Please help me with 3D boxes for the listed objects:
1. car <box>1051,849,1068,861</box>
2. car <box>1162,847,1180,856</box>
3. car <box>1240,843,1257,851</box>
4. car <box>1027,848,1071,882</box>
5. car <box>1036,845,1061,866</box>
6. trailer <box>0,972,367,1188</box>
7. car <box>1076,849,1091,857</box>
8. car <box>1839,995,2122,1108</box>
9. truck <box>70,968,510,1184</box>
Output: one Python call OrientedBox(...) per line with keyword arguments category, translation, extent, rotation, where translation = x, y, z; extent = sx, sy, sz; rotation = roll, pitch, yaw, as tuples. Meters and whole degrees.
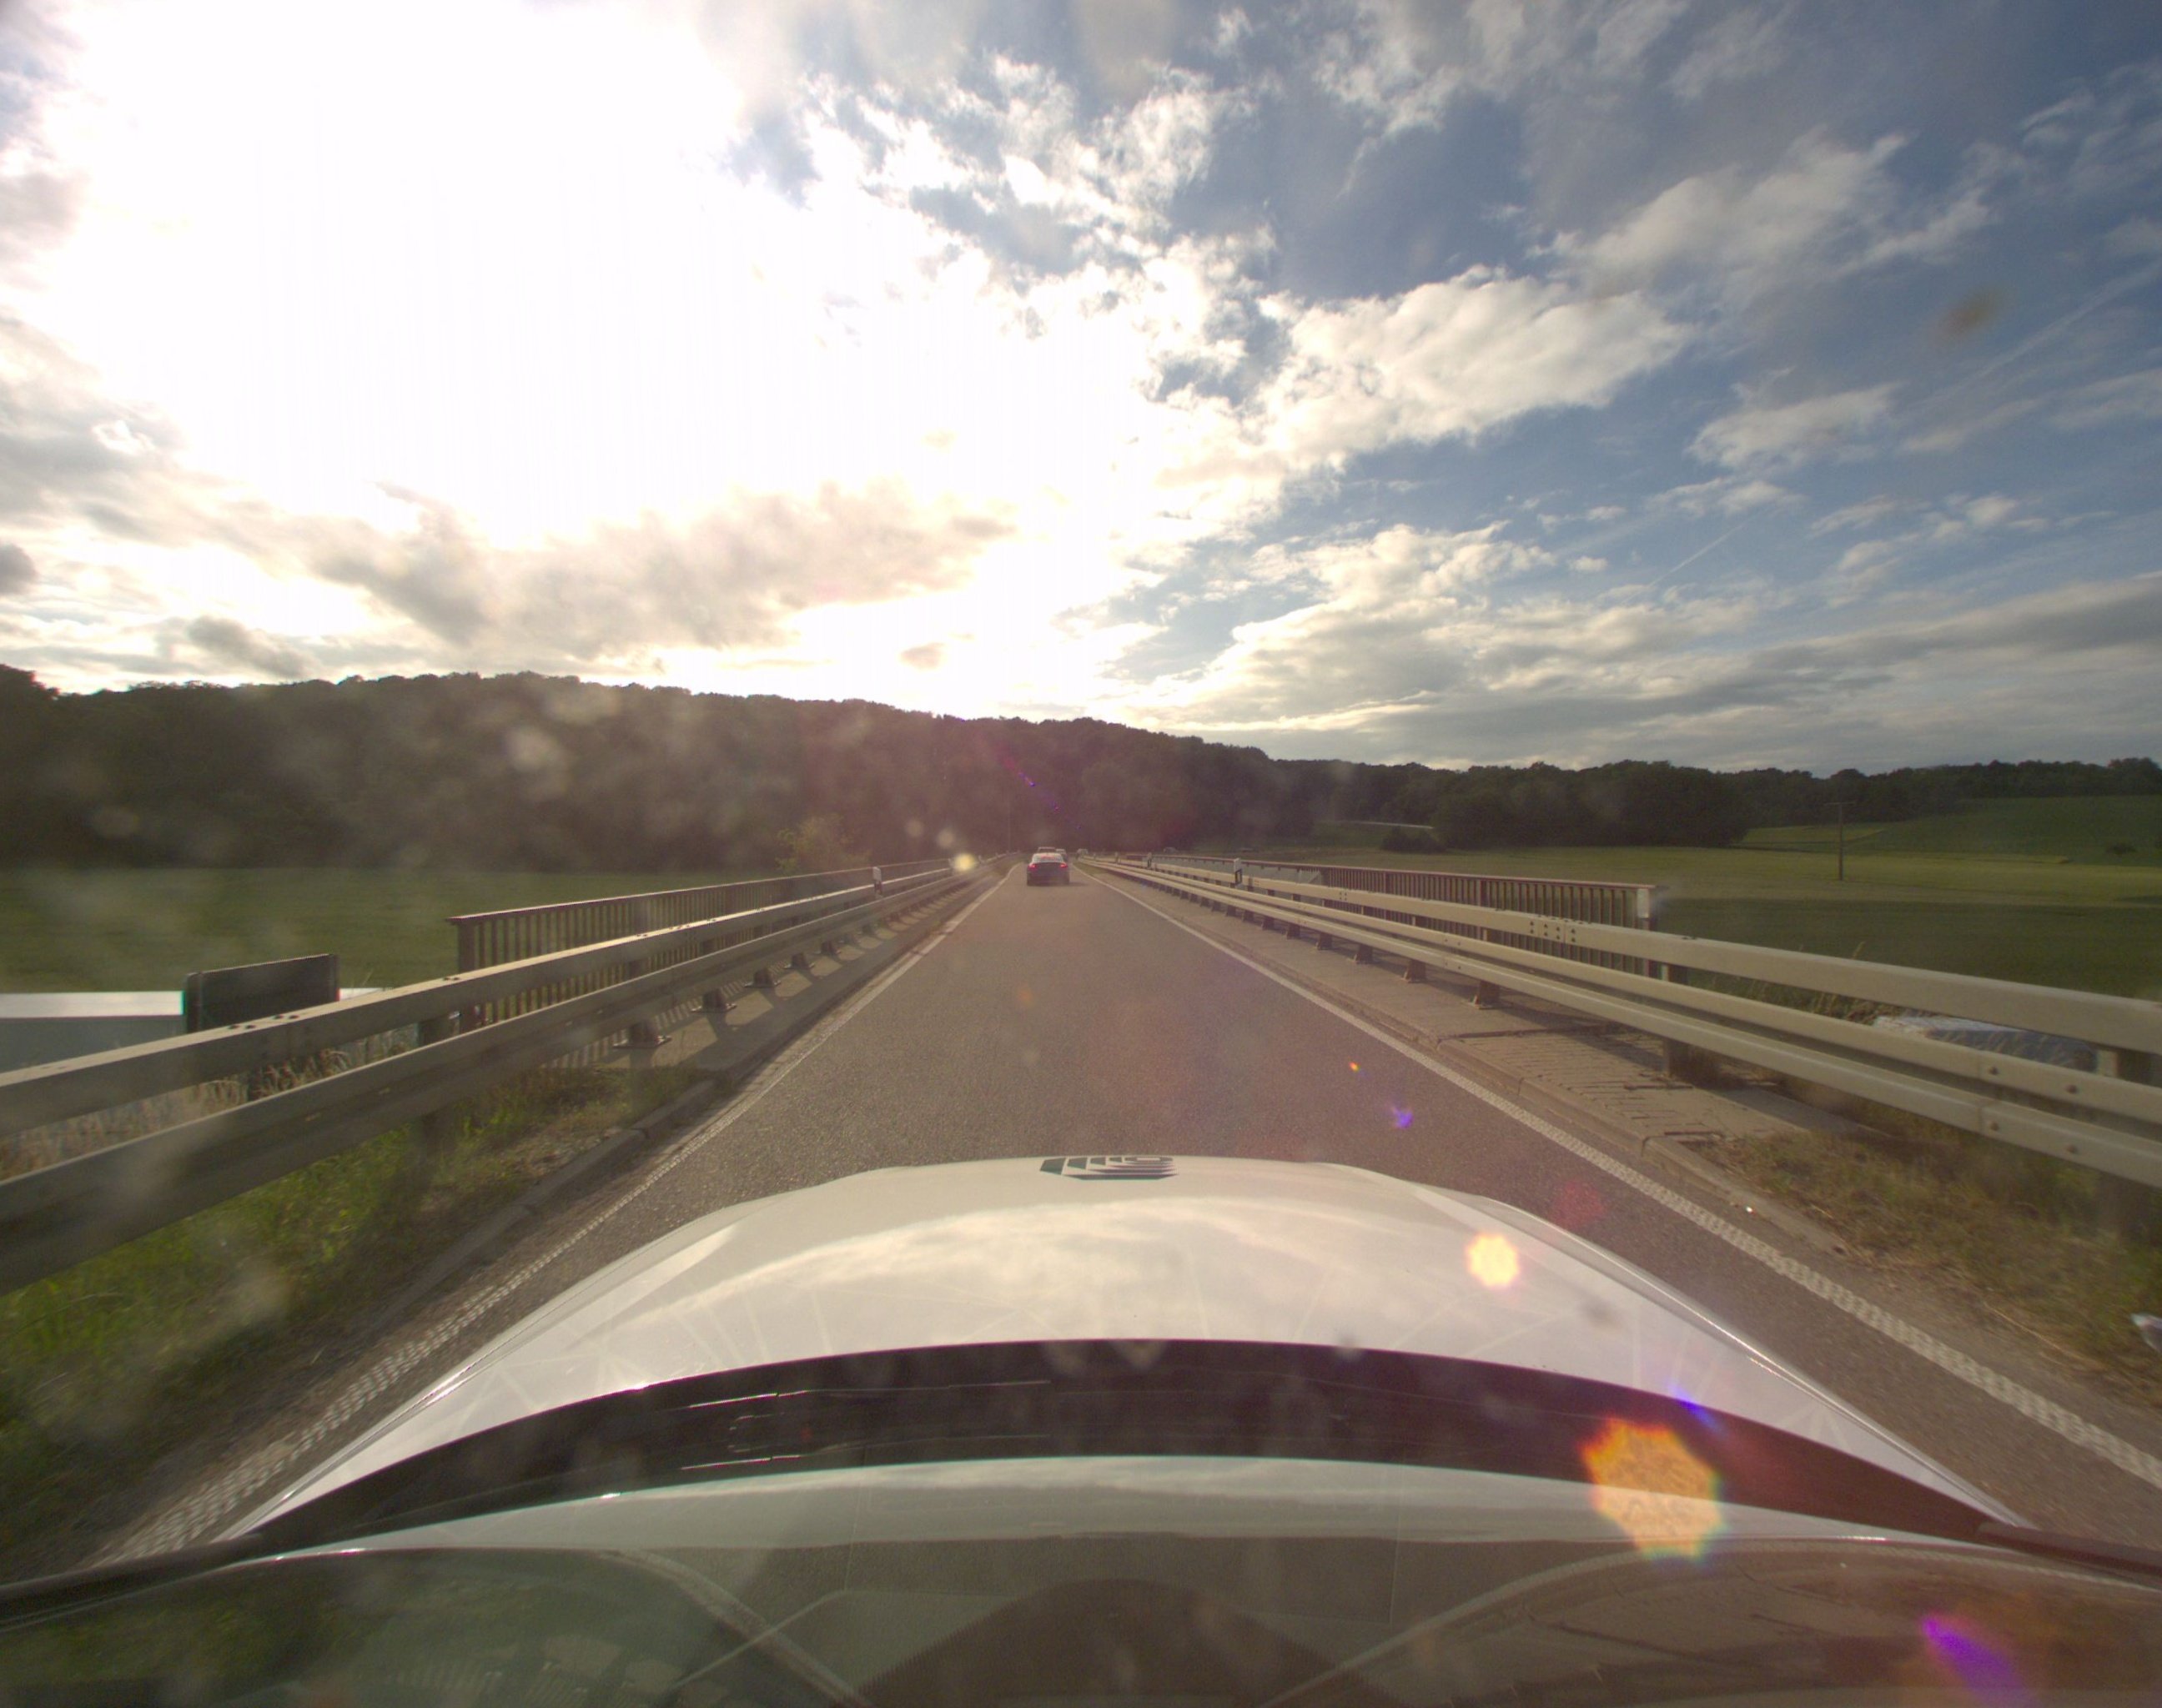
OrientedBox(category="car", translation=(-2.471, 0.107, 94.515), extent=(1.675, 1.376, 4.003), rotation=(0, 0, 3))
OrientedBox(category="car", translation=(18.286, -0.532, 165.762), extent=(1.974, 1.679, 4.204), rotation=(1, 0, 34))
OrientedBox(category="car", translation=(39.764, -1.686, 192.932), extent=(4.022, 1.772, 1.976), rotation=(0, 0, -43))
OrientedBox(category="car", translation=(-1.459, 0.434, 35.972), extent=(1.815, 1.339, 4.344), rotation=(0, 1, -4))
OrientedBox(category="car", translation=(-2.594, 0.088, 63.864), extent=(1.858, 1.568, 3.995), rotation=(0, 1, -4))
OrientedBox(category="trailer", translation=(-26.633, 5.783, 21.075), extent=(12.665, 4.467, 3.028), rotation=(-1, 3, -6))
OrientedBox(category="car", translation=(0.400, -0.141, 118.334), extent=(1.461, 1.227, 3.310), rotation=(0, -1, 12))
OrientedBox(category="car", translation=(27.456, 5.989, 25.040), extent=(6.086, 2.583, 2.373), rotation=(-1, 5, -2))
OrientedBox(category="truck", translation=(-20.464, 5.666, 21.625), extent=(8.017, 4.467, 3.025), rotation=(-1, 3, -5))
